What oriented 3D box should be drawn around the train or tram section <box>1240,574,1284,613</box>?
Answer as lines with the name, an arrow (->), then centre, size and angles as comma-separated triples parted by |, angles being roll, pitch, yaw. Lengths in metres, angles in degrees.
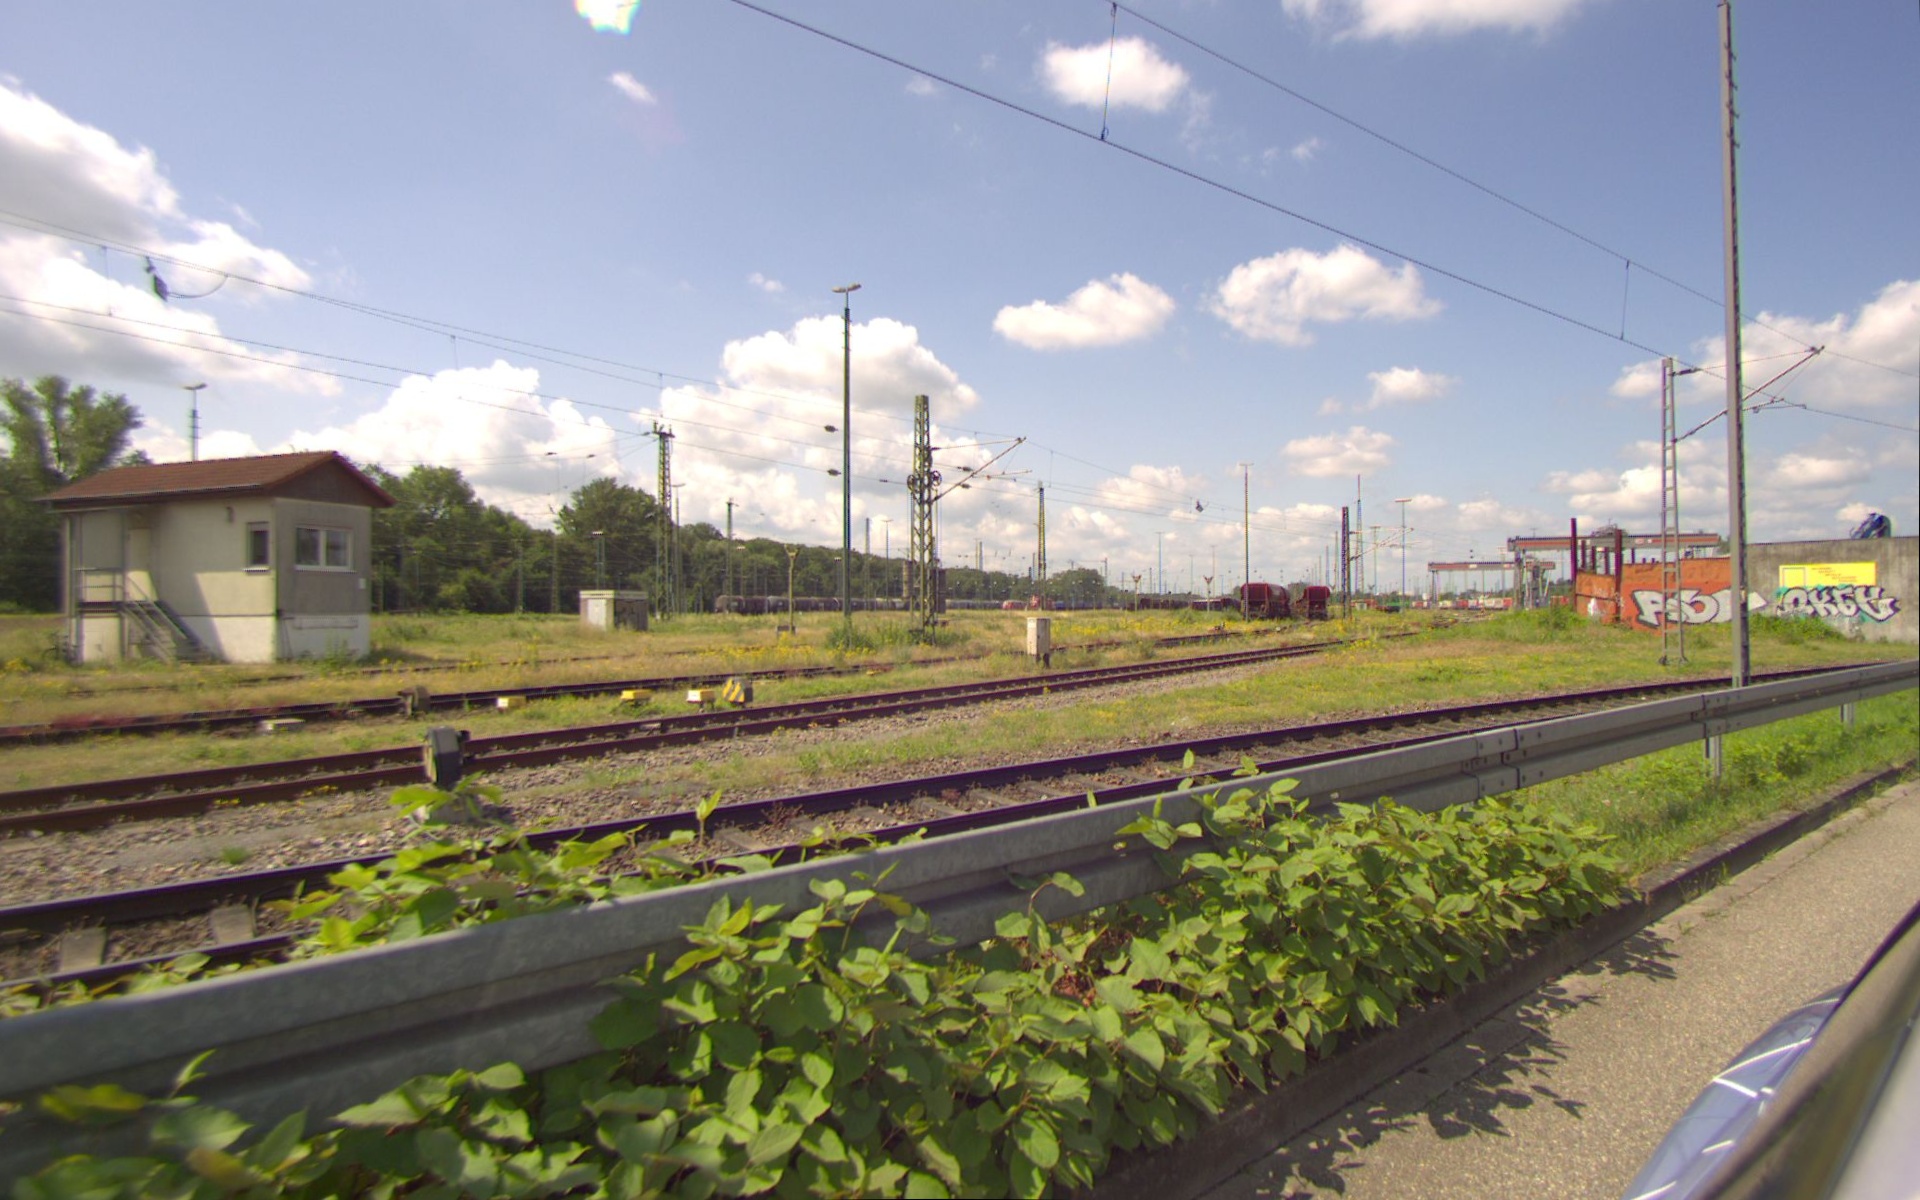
train or tram section -> 31.073, -0.574, 103.714 | 3.263, 3.764, 12.458 | -1, -1, 22

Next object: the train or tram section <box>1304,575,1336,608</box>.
train or tram section -> 44.026, -0.982, 123.433 | 3.168, 3.764, 12.458 | -1, -1, 22

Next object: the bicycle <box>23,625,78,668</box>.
bicycle -> -26.246, 1.327, 29.203 | 1.852, 1.219, 0.409 | -1, -1, 22
